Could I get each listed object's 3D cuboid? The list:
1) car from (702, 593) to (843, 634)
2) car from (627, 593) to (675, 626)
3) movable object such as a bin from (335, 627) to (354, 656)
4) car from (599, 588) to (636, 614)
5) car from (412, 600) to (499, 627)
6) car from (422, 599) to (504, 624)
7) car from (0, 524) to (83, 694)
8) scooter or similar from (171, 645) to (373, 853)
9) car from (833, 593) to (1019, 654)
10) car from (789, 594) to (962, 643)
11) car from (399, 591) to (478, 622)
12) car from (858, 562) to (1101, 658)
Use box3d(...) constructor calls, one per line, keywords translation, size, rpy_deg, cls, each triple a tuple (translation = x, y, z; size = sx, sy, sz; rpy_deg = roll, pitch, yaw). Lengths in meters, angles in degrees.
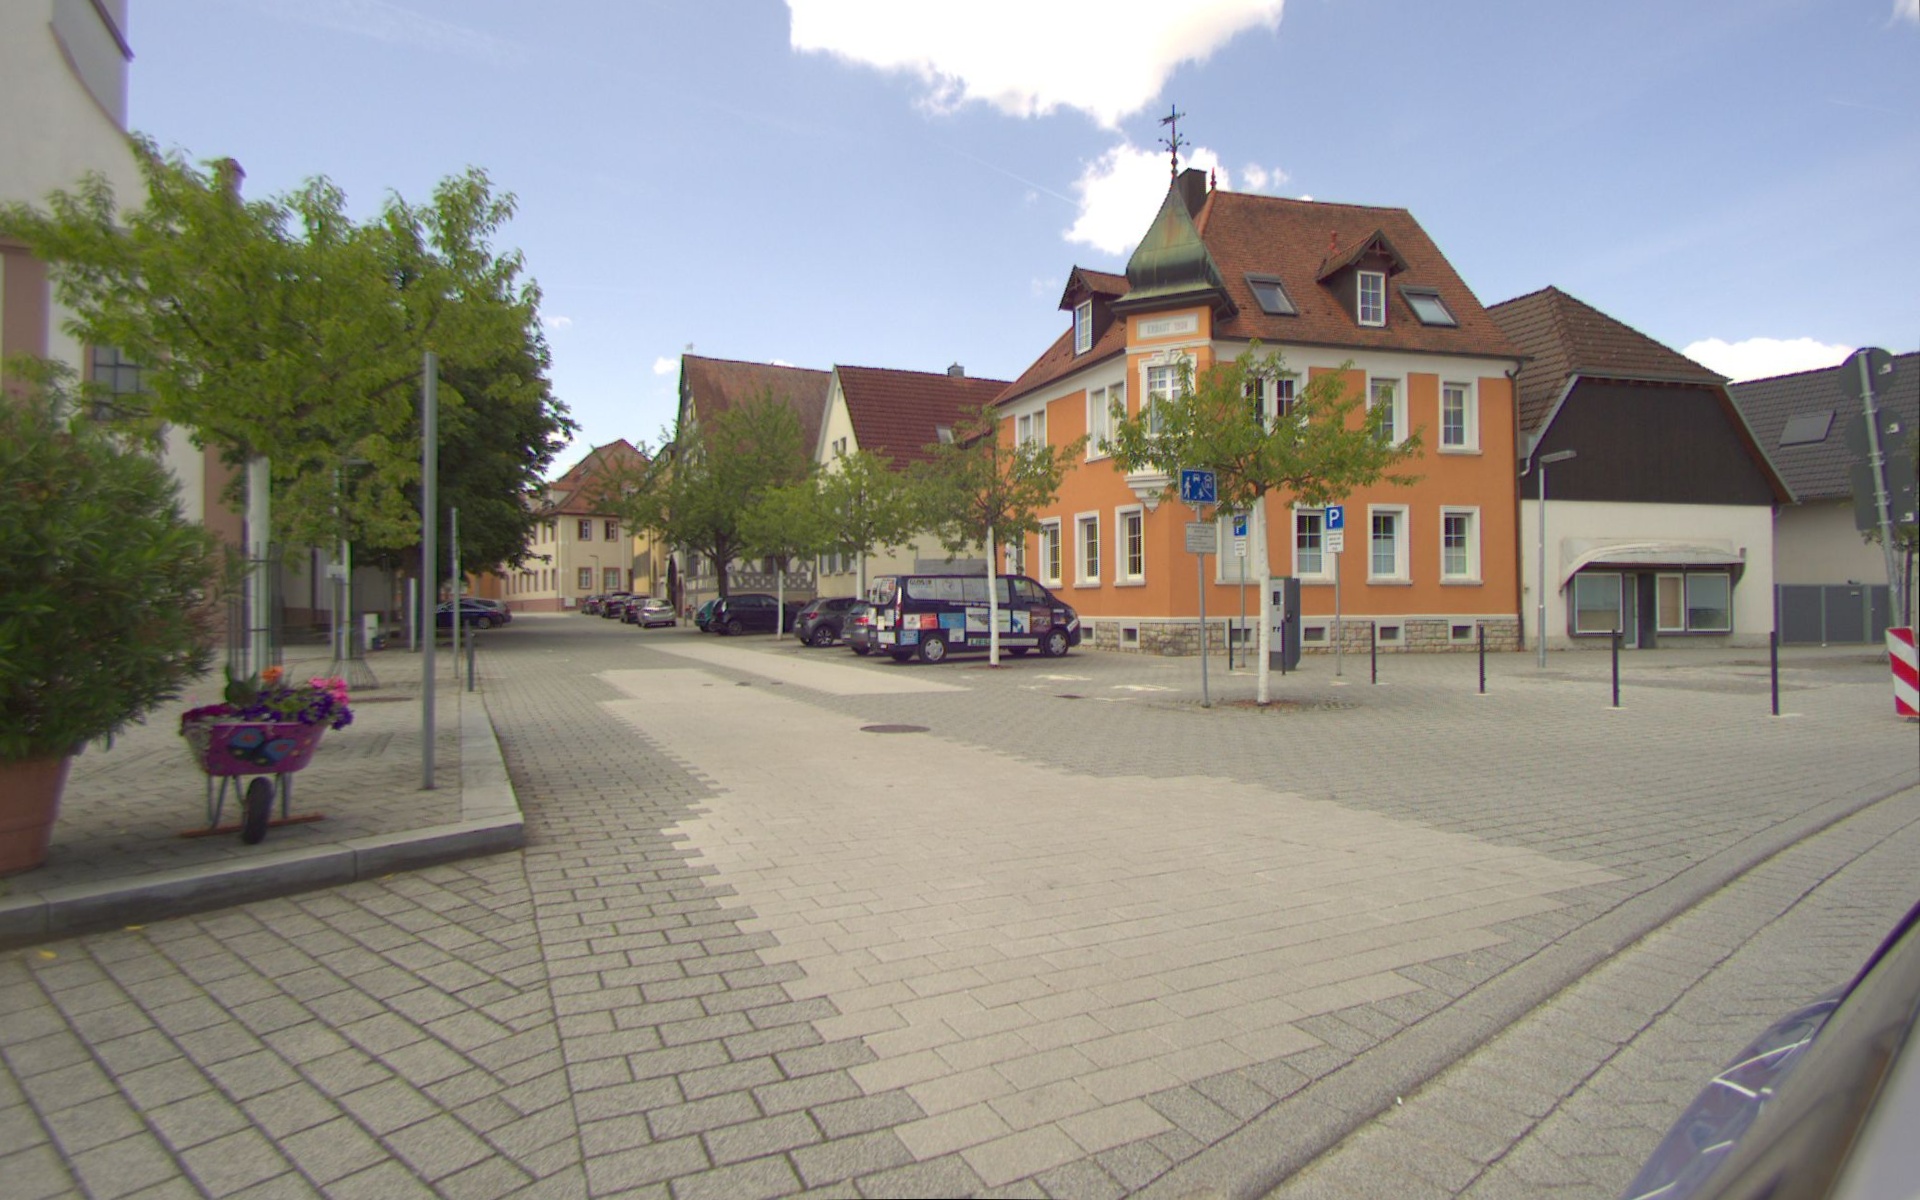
box3d(translation=(-7.711, 0.531, 41.677), size=(5.382, 1.592, 2.003), rpy_deg=(0, -1, -27), cls="car")
box3d(translation=(-16.538, 0.502, 53.964), size=(1.958, 1.693, 5.504), rpy_deg=(0, -1, -22), cls="car")
box3d(translation=(-15.191, 1.025, 24.963), size=(0.358, 0.708, 0.293), rpy_deg=(0, -1, -39), cls="movable object such as a bin")
box3d(translation=(-22.870, 0.086, 67.439), size=(1.958, 1.693, 5.504), rpy_deg=(0, -1, -22), cls="car")
box3d(translation=(-24.872, 0.657, 49.916), size=(3.775, 1.245, 1.732), rpy_deg=(0, -1, -28), cls="car")
box3d(translation=(-25.807, 0.574, 52.536), size=(3.775, 1.245, 1.732), rpy_deg=(0, -1, -28), cls="car")
box3d(translation=(-17.583, 0.159, 14.974), size=(6.829, 2.509, 2.655), rpy_deg=(0, 0, -2), cls="car")
box3d(translation=(-3.654, 0.714, 5.349), size=(0.801, 0.892, 1.144), rpy_deg=(0, 0, -39), cls="scooter or similar")
box3d(translation=(-0.859, 0.576, 26.511), size=(4.626, 1.503, 1.626), rpy_deg=(0, -1, -27), cls="car")
box3d(translation=(-2.640, 0.550, 31.856), size=(5.020, 1.460, 2.003), rpy_deg=(0, -1, -27), cls="car")
box3d(translation=(-29.631, 0.357, 57.482), size=(3.919, 1.679, 2.002), rpy_deg=(0, 0, -29), cls="car")
box3d(translation=(0.491, 0.212, 23.752), size=(5.382, 2.039, 2.002), rpy_deg=(0, -1, -27), cls="car")
